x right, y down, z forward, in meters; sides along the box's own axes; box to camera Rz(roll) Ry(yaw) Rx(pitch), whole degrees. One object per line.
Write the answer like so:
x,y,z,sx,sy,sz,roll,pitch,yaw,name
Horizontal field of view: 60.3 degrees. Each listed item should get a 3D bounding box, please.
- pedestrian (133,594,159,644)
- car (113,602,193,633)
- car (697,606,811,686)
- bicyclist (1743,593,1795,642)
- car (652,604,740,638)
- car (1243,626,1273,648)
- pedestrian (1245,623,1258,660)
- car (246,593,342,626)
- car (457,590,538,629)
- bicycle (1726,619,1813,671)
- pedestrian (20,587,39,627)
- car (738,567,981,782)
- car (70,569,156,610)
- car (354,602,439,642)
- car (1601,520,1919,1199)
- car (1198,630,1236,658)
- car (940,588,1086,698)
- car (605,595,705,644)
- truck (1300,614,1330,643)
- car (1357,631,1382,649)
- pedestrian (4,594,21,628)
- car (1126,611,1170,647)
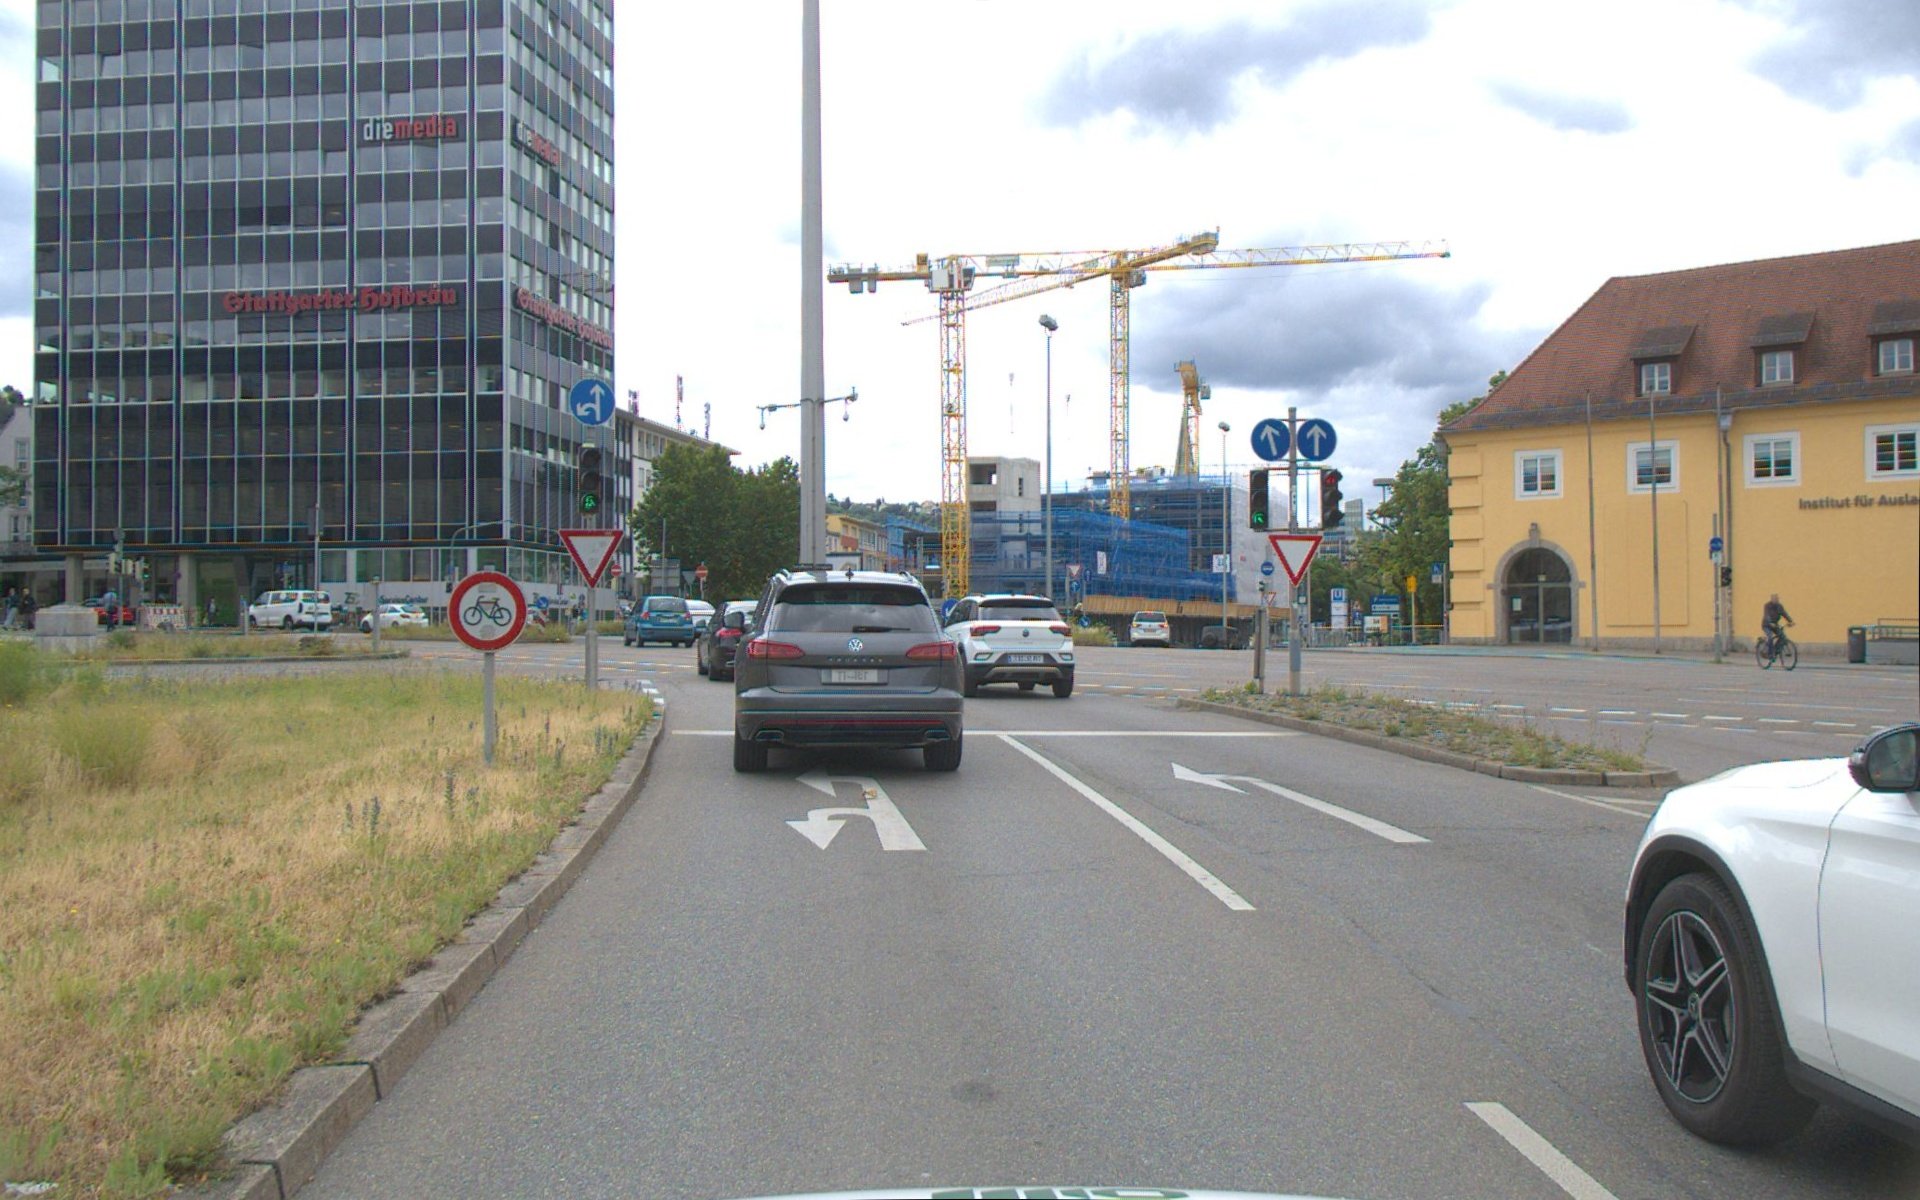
-39.597,0.928,80.453,0.950,2.403,1.028,1,0,-35,pedestrian
-42.151,0.916,86.403,3.890,1.529,1.723,1,0,26,car
-3.928,0.806,31.017,1.761,1.380,4.057,0,0,-12,car
19.736,0.420,40.368,0.904,1.179,0.725,1,0,-1,bicyclist
-9.565,0.728,59.788,1.655,1.159,4.023,0,0,-33,car
21.665,2.683,120.175,1.765,1.529,3.984,0,0,16,car
12.883,1.814,73.008,0.487,1.602,0.400,1,0,20,pedestrian
-32.813,0.425,81.477,4.516,1.529,2.245,1,1,34,car
-19.052,0.382,68.104,1.803,1.522,3.850,0,1,-40,car
19.724,1.076,40.360,0.904,1.179,2.464,1,0,0,bicycle
-38.682,0.296,68.759,0.617,1.621,0.583,1,0,-36,pedestrian
-1.004,0.564,14.951,1.896,1.676,3.994,0,1,-7,car
-43.283,-0.561,84.517,3.909,2.049,1.998,1,0,26,car
-27.914,1.059,81.947,3.915,1.638,1.897,3,6,31,car
3.046,0.672,3.169,1.782,1.676,4.377,0,1,-2,car
15.308,2.608,98.463,1.765,1.529,3.984,0,0,16,car
0.769,0.635,26.492,1.857,1.613,3.796,0,1,-6,car
-9.030,0.548,48.795,1.773,1.380,4.032,0,0,-28,car
32.276,2.588,150.327,2.083,2.496,4.829,0,0,19,truck
48.587,4.758,196.301,1.953,2.049,4.000,0,0,0,car
-39.301,0.453,68.611,0.531,1.420,0.646,1,0,-36,pedestrian
8.568,1.289,75.174,1.764,1.529,3.985,1,1,9,car
